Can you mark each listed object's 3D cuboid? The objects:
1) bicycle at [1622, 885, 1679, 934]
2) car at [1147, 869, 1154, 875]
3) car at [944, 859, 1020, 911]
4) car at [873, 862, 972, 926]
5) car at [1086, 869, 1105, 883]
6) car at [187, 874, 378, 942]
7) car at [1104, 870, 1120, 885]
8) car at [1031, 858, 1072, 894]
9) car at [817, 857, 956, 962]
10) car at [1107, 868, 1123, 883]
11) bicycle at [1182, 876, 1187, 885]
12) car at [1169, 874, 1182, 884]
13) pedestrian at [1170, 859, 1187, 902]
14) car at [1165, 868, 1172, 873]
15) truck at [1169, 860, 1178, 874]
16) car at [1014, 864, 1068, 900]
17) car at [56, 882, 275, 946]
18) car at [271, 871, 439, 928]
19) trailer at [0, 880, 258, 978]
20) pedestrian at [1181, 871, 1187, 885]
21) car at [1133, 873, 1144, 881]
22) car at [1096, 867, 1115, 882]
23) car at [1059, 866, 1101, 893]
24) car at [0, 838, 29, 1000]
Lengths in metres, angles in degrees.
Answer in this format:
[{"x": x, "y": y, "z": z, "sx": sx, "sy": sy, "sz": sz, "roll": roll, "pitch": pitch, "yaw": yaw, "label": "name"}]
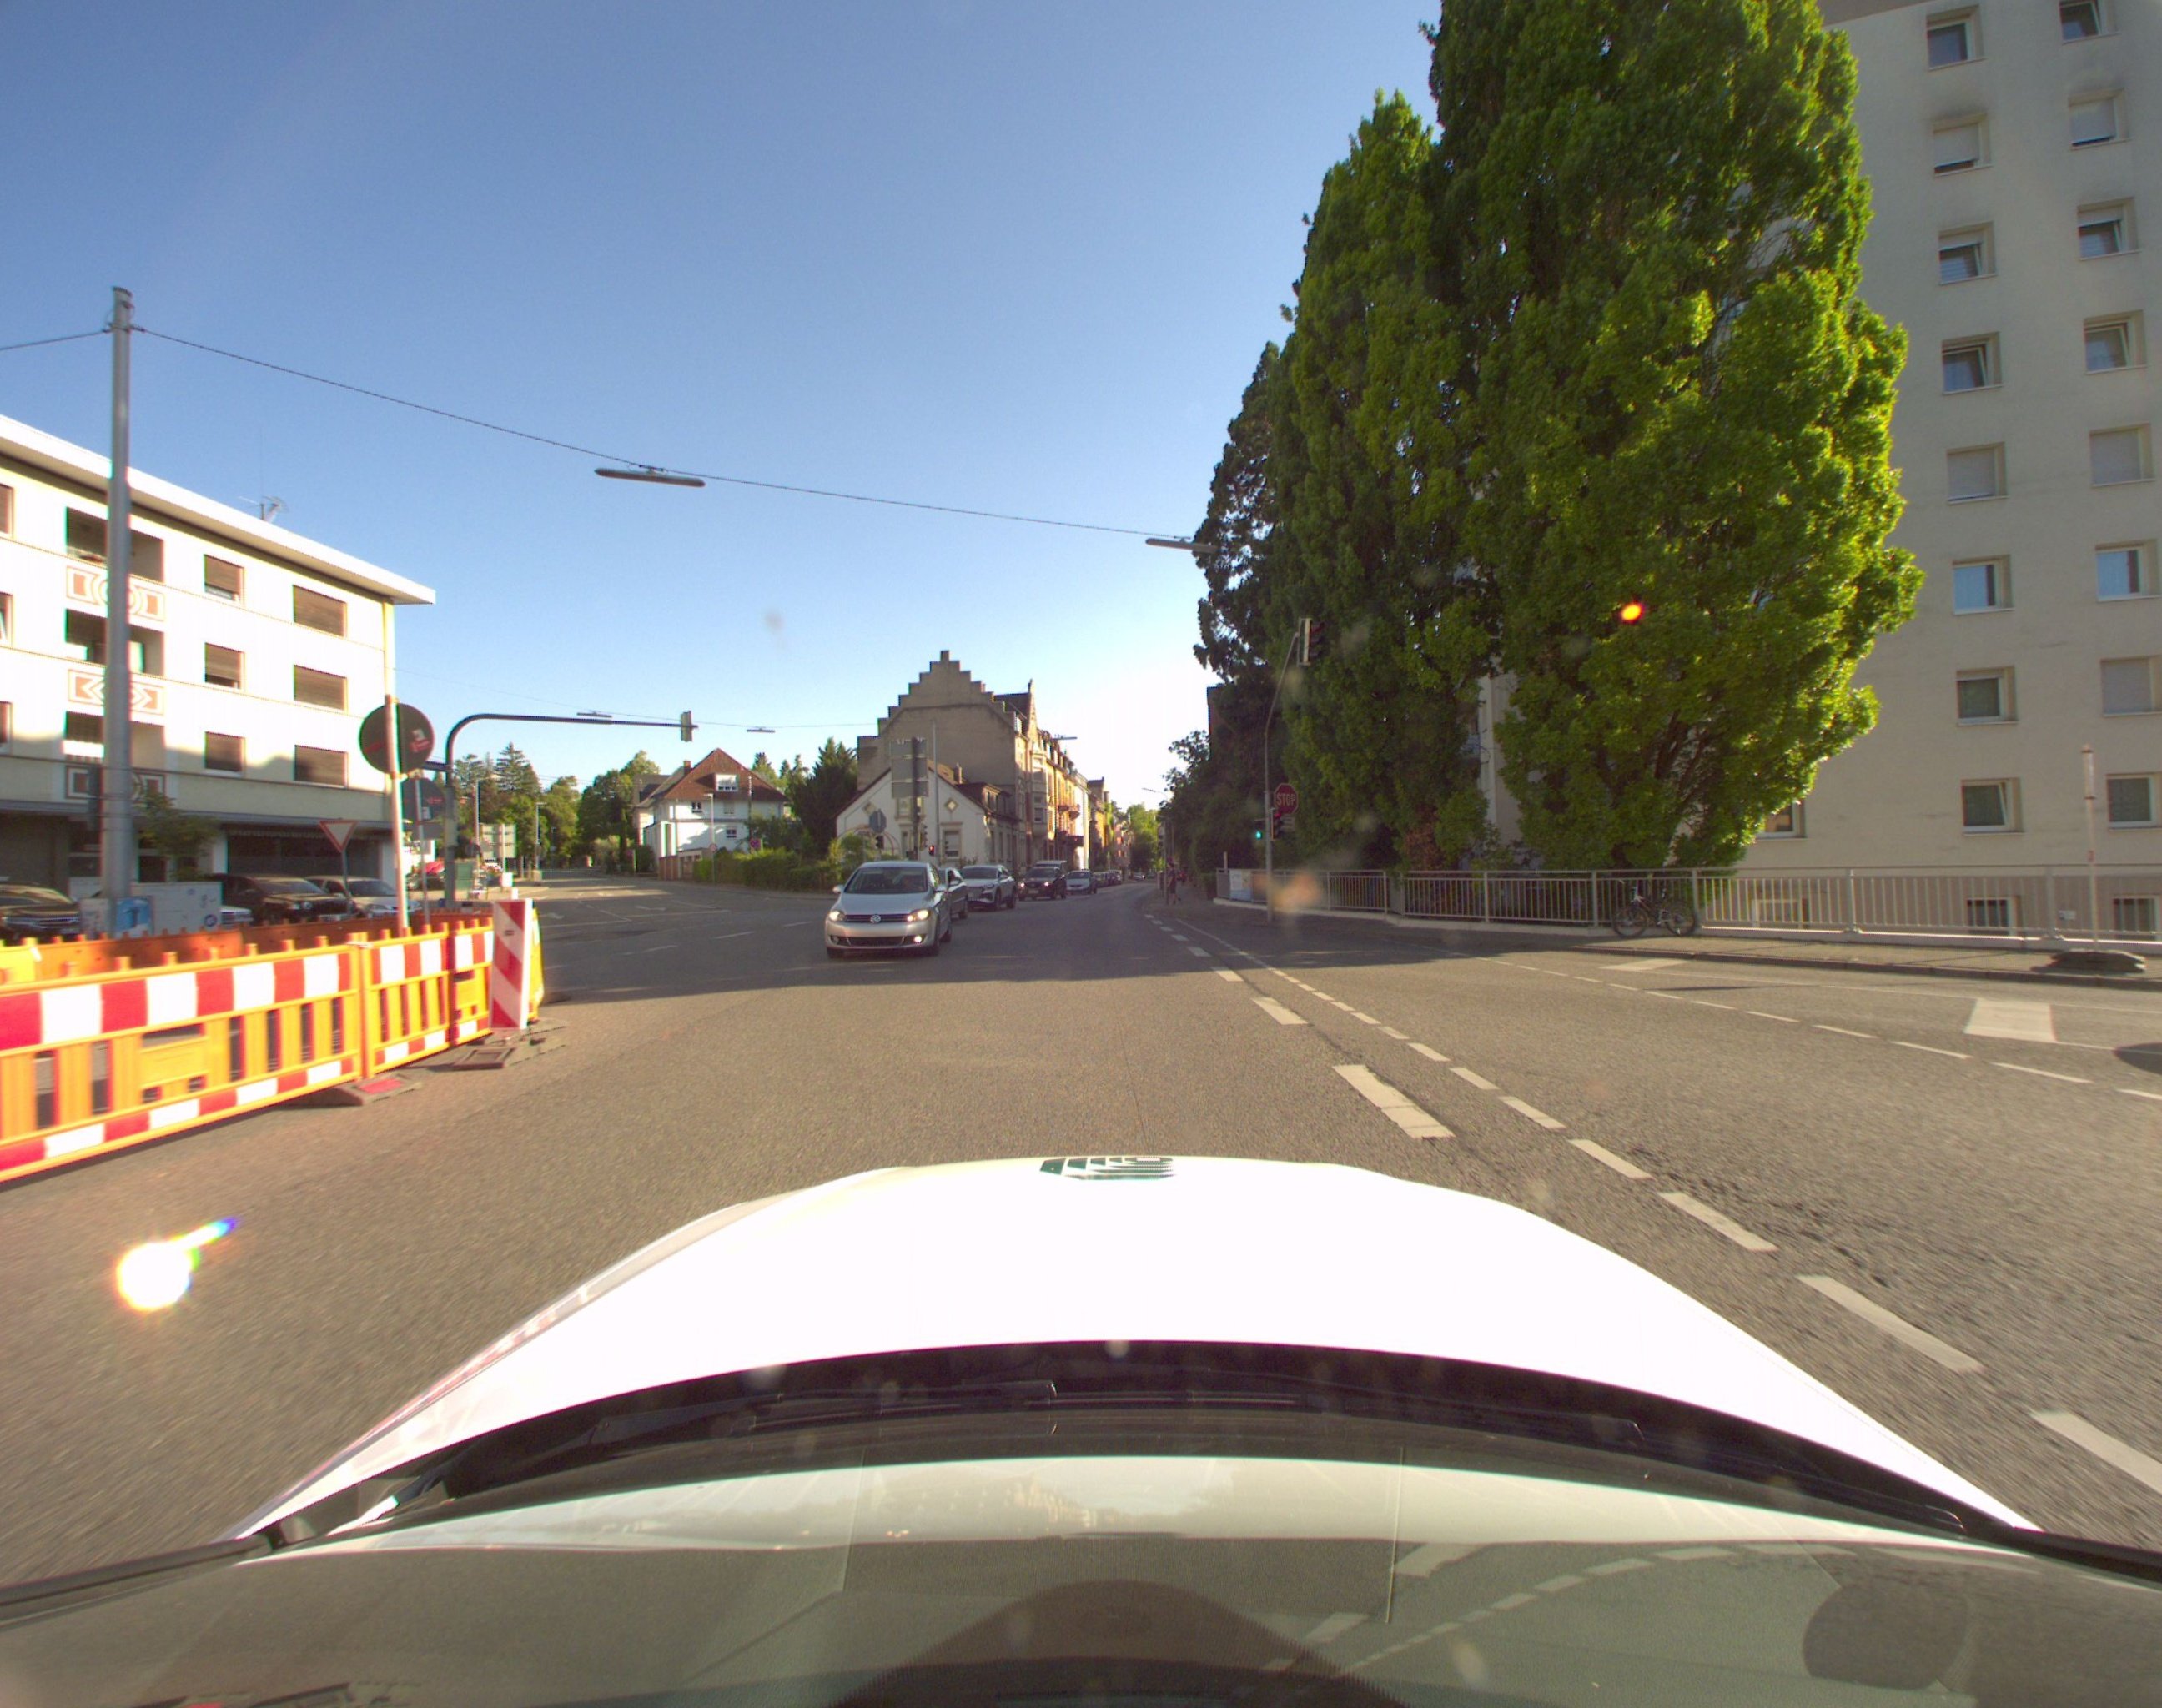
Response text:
[{"x": 11.239, "y": 1.080, "z": 16.066, "sx": 1.292, "sy": 0.903, "sz": 0.406, "roll": 0, "pitch": 0, "yaw": -30, "label": "bicycle"}, {"x": 20.246, "y": 5.347, "z": 237.819, "sx": 1.983, "sy": 1.491, "sz": 4.479, "roll": -2, "pitch": 0, "yaw": 7, "label": "car"}, {"x": -3.407, "y": 1.037, "z": 28.953, "sx": 1.767, "sy": 1.648, "sz": 4.540, "roll": 0, "pitch": 0, "yaw": 5, "label": "car"}, {"x": -4.048, "y": 0.980, "z": 21.433, "sx": 1.769, "sy": 1.480, "sz": 4.096, "roll": 0, "pitch": 0, "yaw": 0, "label": "car"}, {"x": 1.534, "y": 2.322, "z": 85.100, "sx": 1.694, "sy": 1.503, "sz": 4.078, "roll": 0, "pitch": -2, "yaw": 6, "label": "car"}, {"x": -22.565, "y": 1.458, "z": 23.054, "sx": 4.280, "sy": 1.715, "sz": 2.009, "roll": 0, "pitch": 0, "yaw": 16, "label": "car"}, {"x": 3.788, "y": 2.852, "z": 100.205, "sx": 1.694, "sy": 1.738, "sz": 3.863, "roll": 0, "pitch": -1, "yaw": 6, "label": "car"}, {"x": -2.075, "y": 1.559, "z": 59.602, "sx": 2.057, "sy": 2.460, "sz": 6.026, "roll": 0, "pitch": -1, "yaw": 7, "label": "car"}, {"x": -3.217, "y": 0.835, "z": 14.211, "sx": 1.773, "sy": 1.543, "sz": 3.993, "roll": 0, "pitch": 0, "yaw": -5, "label": "car"}, {"x": 4.660, "y": 2.922, "z": 110.840, "sx": 1.784, "sy": 2.010, "sz": 4.705, "roll": 0, "pitch": -1, "yaw": 6, "label": "car"}, {"x": 10.535, "y": 2.710, "z": 82.905, "sx": 0.563, "sy": 0.970, "sz": 0.493, "roll": 0, "pitch": 0, "yaw": 5, "label": "bicycle"}, {"x": 16.104, "y": 4.237, "z": 138.557, "sx": 1.982, "sy": 1.517, "sz": 4.009, "roll": -2, "pitch": 0, "yaw": 8, "label": "car"}, {"x": 3.931, "y": 1.065, "z": 32.852, "sx": 0.599, "sy": 1.693, "sz": 0.613, "roll": -2, "pitch": 0, "yaw": 6, "label": "pedestrian"}, {"x": 26.127, "y": 4.965, "z": 243.474, "sx": 1.985, "sy": 1.491, "sz": 4.475, "roll": -2, "pitch": 0, "yaw": 4, "label": "car"}, {"x": 20.406, "y": 2.868, "z": 179.727, "sx": 1.983, "sy": 2.897, "sz": 4.478, "roll": -2, "pitch": 0, "yaw": 6, "label": "truck"}, {"x": -1.926, "y": 1.331, "z": 40.630, "sx": 1.943, "sy": 1.648, "sz": 4.292, "roll": 0, "pitch": 0, "yaw": 7, "label": "car"}, {"x": -23.003, "y": 1.447, "z": 20.510, "sx": 4.280, "sy": 1.398, "sz": 2.009, "roll": 0, "pitch": 0, "yaw": 16, "label": "car"}, {"x": -22.949, "y": 1.387, "z": 25.768, "sx": 4.280, "sy": 1.611, "sz": 2.009, "roll": 0, "pitch": 0, "yaw": 17, "label": "car"}, {"x": -15.415, "y": 1.142, "z": 12.848, "sx": 3.242, "sy": 1.397, "sz": 1.574, "roll": 0, "pitch": 0, "yaw": 1, "label": "trailer"}, {"x": 10.596, "y": 2.418, "z": 83.491, "sx": 0.595, "sy": 1.403, "sz": 0.669, "roll": 0, "pitch": 0, "yaw": 5, "label": "pedestrian"}, {"x": 12.173, "y": 4.803, "z": 171.700, "sx": 1.983, "sy": 1.491, "sz": 4.479, "roll": -2, "pitch": 0, "yaw": 7, "label": "car"}, {"x": 2.855, "y": 2.320, "z": 93.965, "sx": 1.693, "sy": 1.708, "sz": 4.449, "roll": 0, "pitch": -1, "yaw": 8, "label": "car"}, {"x": -0.030, "y": 1.646, "z": 53.205, "sx": 1.941, "sy": 1.648, "sz": 4.296, "roll": 0, "pitch": 0, "yaw": 10, "label": "car"}, {"x": -15.445, "y": 0.791, "z": 9.100, "sx": 4.650, "sy": 1.965, "sz": 2.118, "roll": 0, "pitch": 0, "yaw": 1, "label": "car"}]
